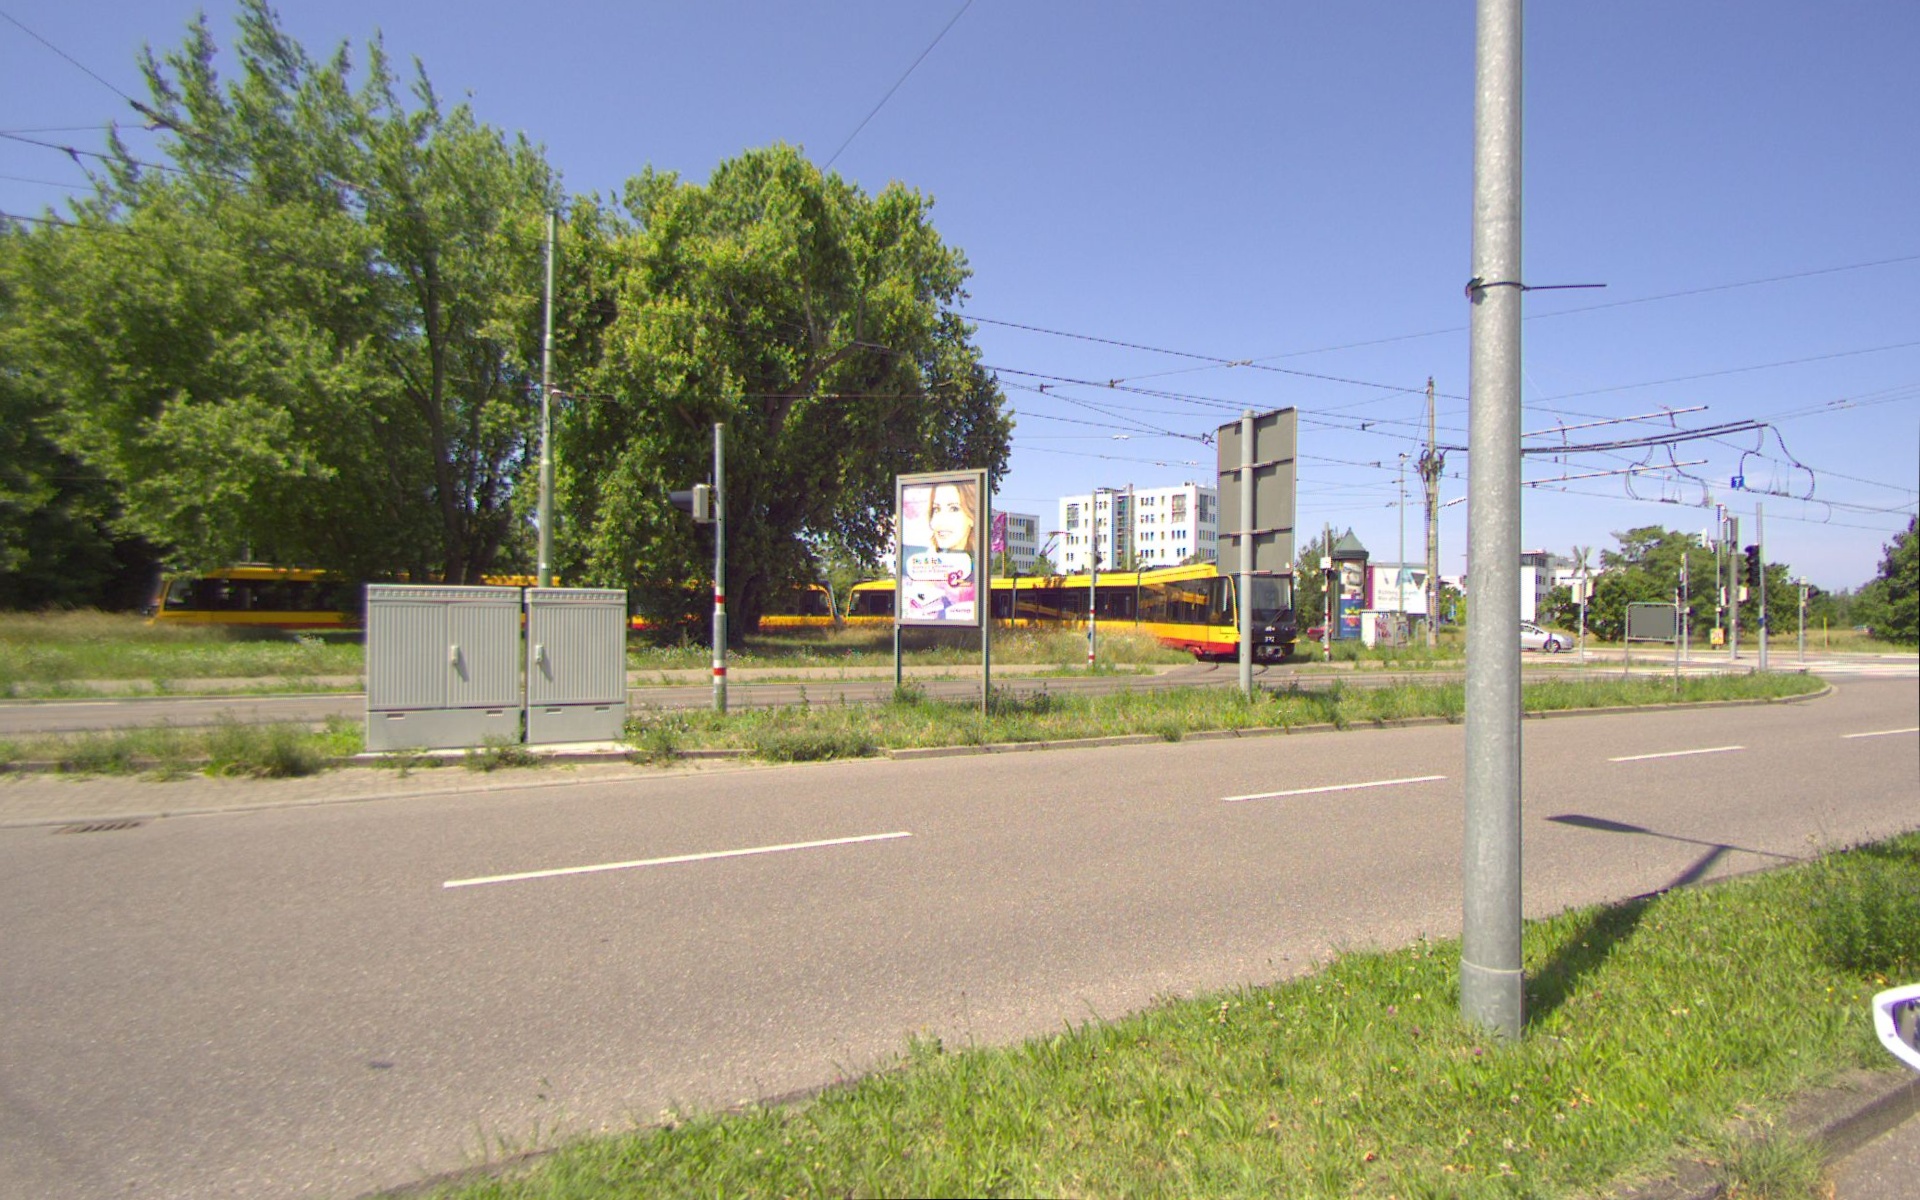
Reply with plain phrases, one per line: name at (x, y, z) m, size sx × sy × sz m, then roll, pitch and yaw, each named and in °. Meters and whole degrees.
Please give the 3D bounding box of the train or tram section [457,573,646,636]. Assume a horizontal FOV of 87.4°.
train or tram section at (-23.977, 0.287, 59.174) m, size 10.093 × 3.512 × 3.025 m, roll 1°, pitch 1°, yaw -28°

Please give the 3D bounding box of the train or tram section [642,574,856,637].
train or tram section at (-12.753, 0.336, 61.646) m, size 12.509 × 3.512 × 3.043 m, roll 1°, pitch 1°, yaw -5°

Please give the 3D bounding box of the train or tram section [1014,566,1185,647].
train or tram section at (6.523, 0.202, 49.234) m, size 3.007 × 3.512 × 10.152 m, roll 1°, pitch 1°, yaw -27°

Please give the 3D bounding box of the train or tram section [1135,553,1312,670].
train or tram section at (9.270, 0.276, 37.559) m, size 2.986 × 3.512 × 13.290 m, roll 1°, pitch 1°, yaw 0°

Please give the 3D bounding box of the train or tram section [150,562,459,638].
train or tram section at (-33.554, 0.001, 52.312) m, size 3.003 × 3.512 × 13.188 m, roll 2°, pitch 1°, yaw 43°

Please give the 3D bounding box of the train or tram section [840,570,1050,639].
train or tram section at (-1.107, 0.157, 57.343) m, size 12.536 × 3.512 × 3.037 m, roll 2°, pitch 1°, yaw 34°

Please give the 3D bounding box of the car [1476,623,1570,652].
car at (29.423, 1.932, 52.598) m, size 4.205 × 1.311 × 1.996 m, roll 0°, pitch 0°, yaw 30°

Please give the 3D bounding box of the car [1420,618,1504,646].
car at (28.682, 1.801, 57.436) m, size 4.205 × 1.431 × 1.895 m, roll 0°, pitch 0°, yaw 31°

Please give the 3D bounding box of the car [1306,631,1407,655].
car at (22.006, 2.378, 55.900) m, size 5.136 × 1.147 × 1.898 m, roll 0°, pitch 0°, yaw 20°
